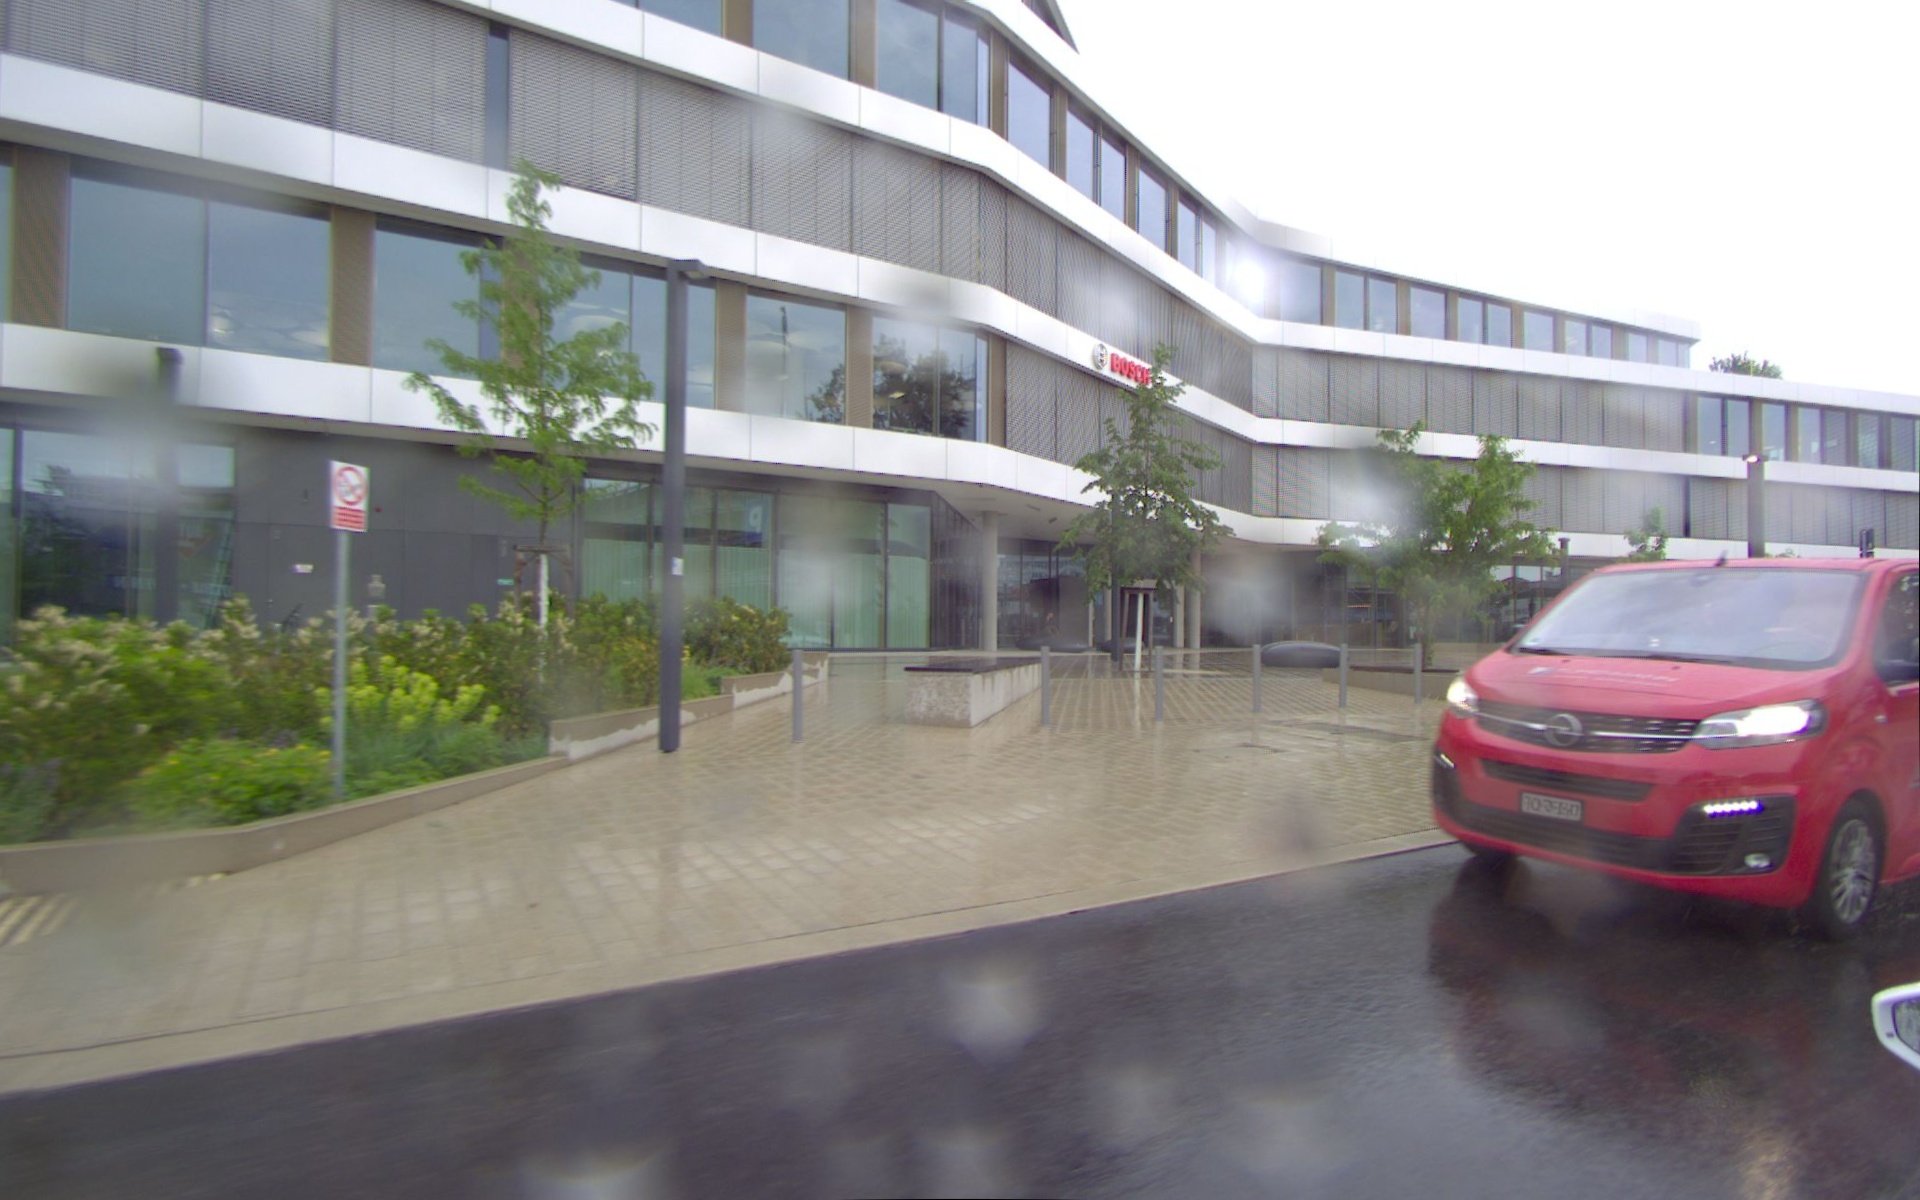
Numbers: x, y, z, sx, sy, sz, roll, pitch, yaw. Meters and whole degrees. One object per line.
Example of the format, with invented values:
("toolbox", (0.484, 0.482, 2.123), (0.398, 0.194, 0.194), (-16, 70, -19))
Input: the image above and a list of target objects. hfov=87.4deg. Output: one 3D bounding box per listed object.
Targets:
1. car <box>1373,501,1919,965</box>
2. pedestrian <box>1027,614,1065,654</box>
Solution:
("car", (4.949, 0.580, 6.162), (4.924, 1.842, 1.992), (1, -2, -32))
("pedestrian", (3.004, 1.174, 35.001), (0.883, 1.332, 1.059), (4, 1, 32))
